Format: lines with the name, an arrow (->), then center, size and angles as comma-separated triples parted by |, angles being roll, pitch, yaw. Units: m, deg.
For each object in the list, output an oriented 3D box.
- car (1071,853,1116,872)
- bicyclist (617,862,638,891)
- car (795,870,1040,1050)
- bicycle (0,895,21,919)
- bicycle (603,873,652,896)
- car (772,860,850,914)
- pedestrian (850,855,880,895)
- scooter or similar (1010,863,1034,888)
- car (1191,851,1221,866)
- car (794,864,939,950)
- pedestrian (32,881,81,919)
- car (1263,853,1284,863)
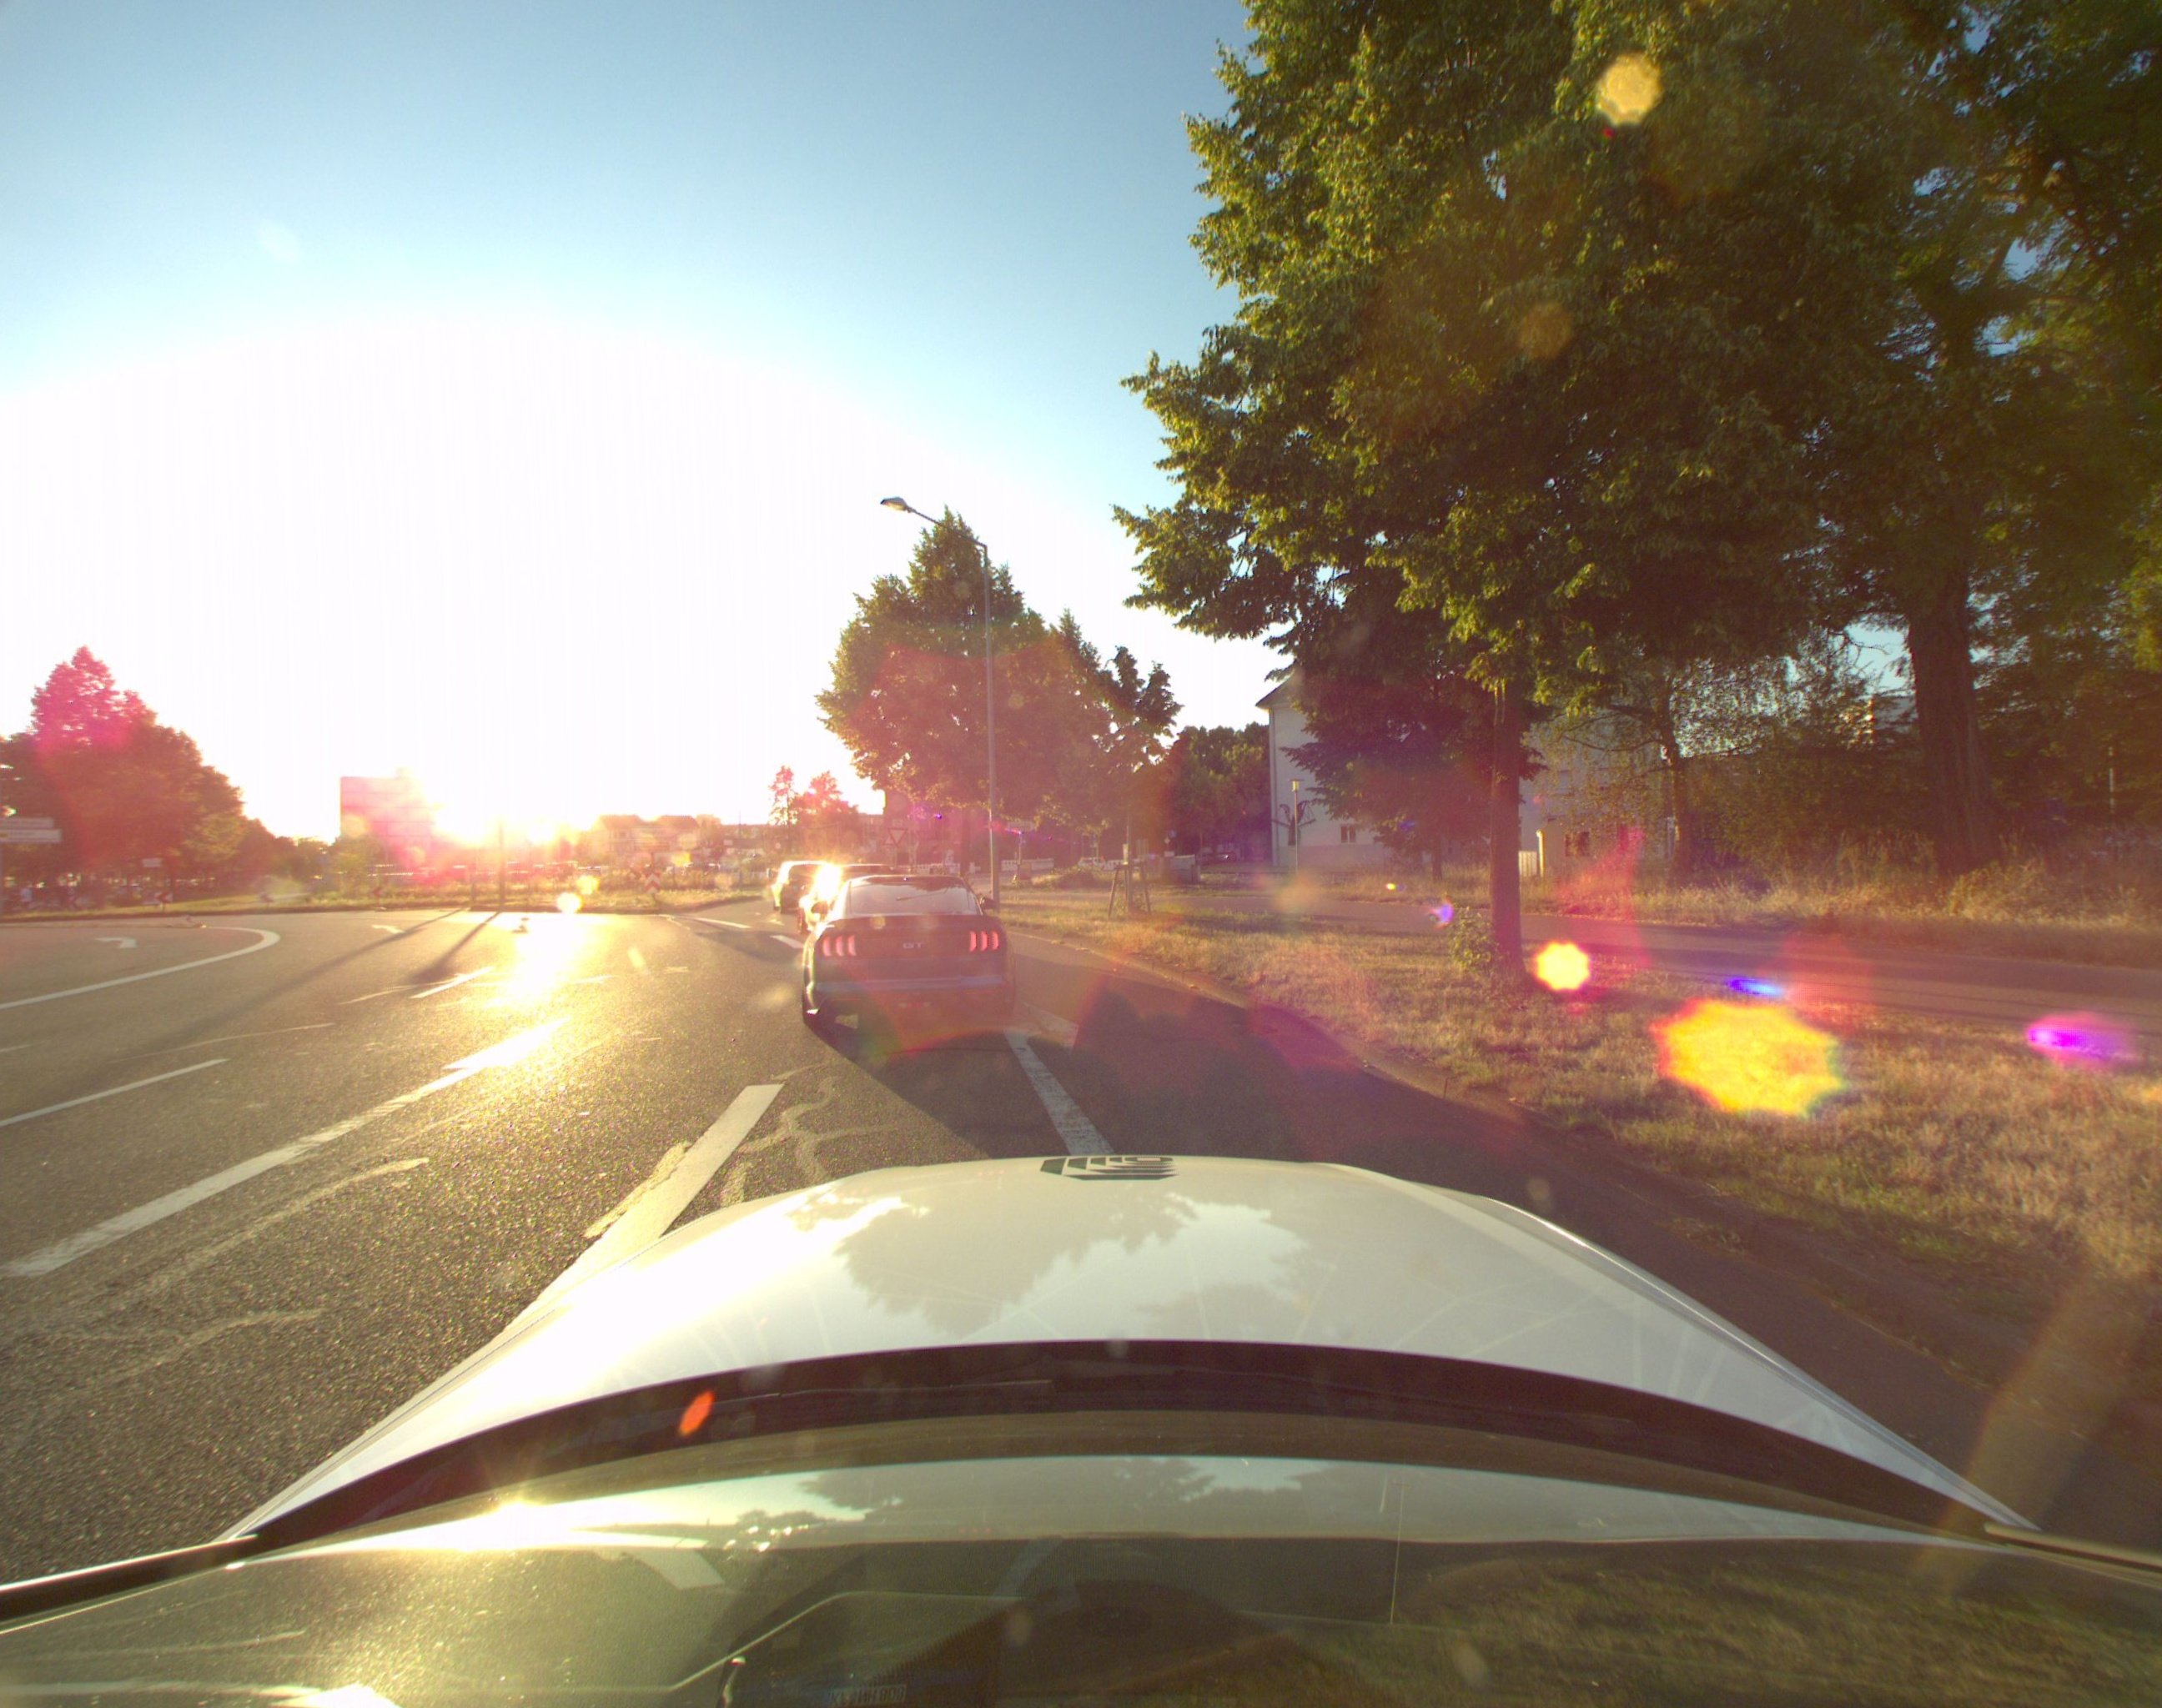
car -> 1.051, 0.683, 66.472 | 1.858, 1.401, 3.941 | -2, 0, 30
bicyclist -> -25.854, 1.266, 46.418 | 0.981, 1.612, 0.747 | -1, -1, -31
car -> -1.969, 0.878, 8.872 | 1.956, 1.342, 4.643 | -1, -1, -17
bicycle -> -54.492, 2.661, 40.284 | 2.414, 1.167, 0.748 | -1, -1, -26
bicycle -> -25.862, 1.730, 46.427 | 2.417, 1.167, 0.747 | -1, -1, -31
car -> -8.768, 1.022, 26.229 | 1.960, 1.602, 4.044 | 1, -2, -24
pedestrian -> -9.364, 0.892, 35.303 | 0.876, 1.686, 0.851 | -2, 0, 28
scooter or similar -> -2.982, 1.076, 41.172 | 1.125, 1.238, 0.439 | -1, 0, -24
car -> 13.686, 0.440, 89.025 | 1.933, 1.602, 4.102 | -1, 0, 29
car -> -4.347, 0.938, 15.995 | 1.961, 1.427, 4.392 | 1, -2, -26
pedestrian -> -52.147, 2.335, 41.467 | 1.162, 1.827, 0.973 | -1, -1, -21
car -> 27.042, 0.539, 114.182 | 1.858, 1.401, 3.941 | -2, 0, 30
